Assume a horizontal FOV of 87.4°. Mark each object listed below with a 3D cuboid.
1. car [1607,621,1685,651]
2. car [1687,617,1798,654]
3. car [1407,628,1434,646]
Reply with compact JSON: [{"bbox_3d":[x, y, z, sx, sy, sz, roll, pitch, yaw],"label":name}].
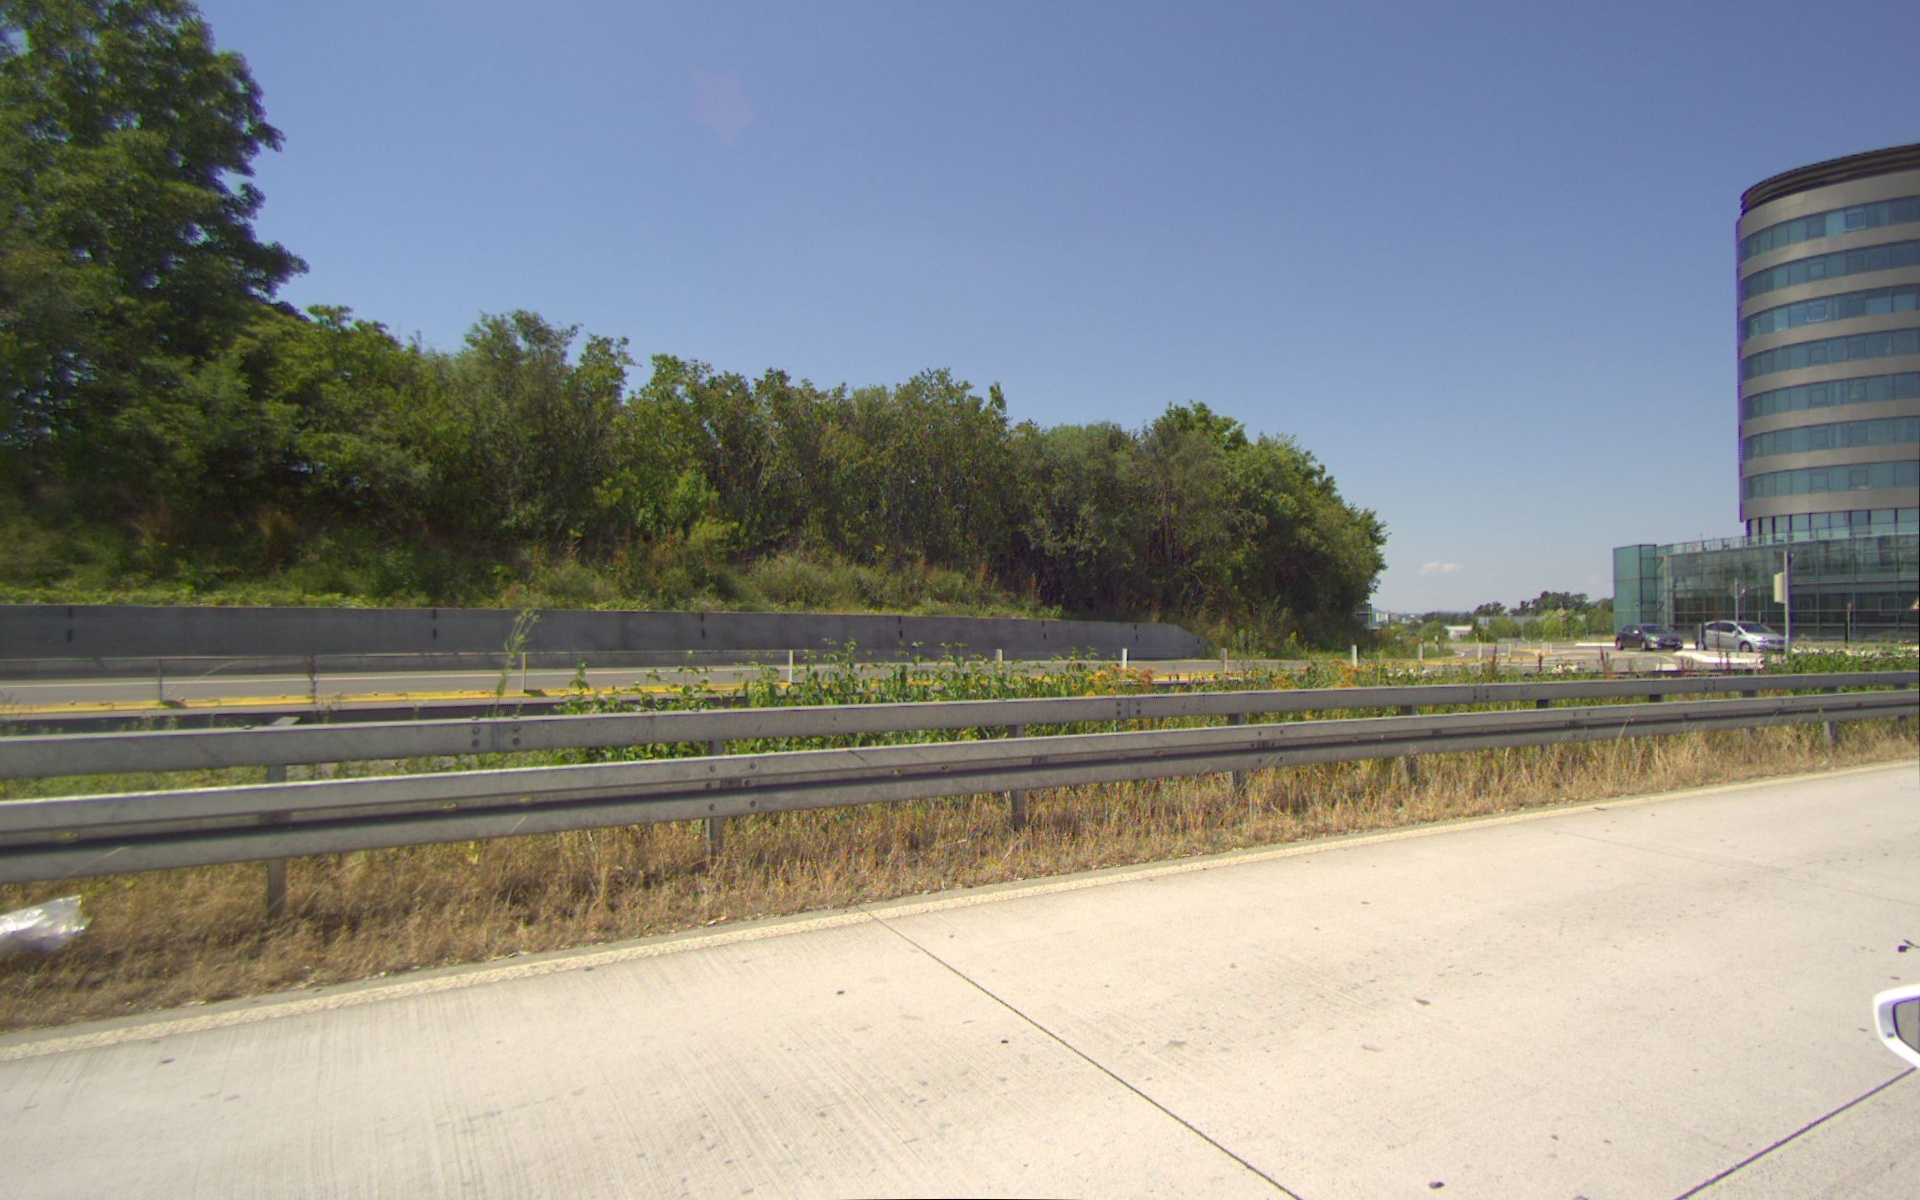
[{"bbox_3d":[37.217,1.971,54.635,1.663,1.475,4.333,2,-2,6],"label":"car"},{"bbox_3d":[36.498,1.668,46.997,1.742,1.616,4.329,2,-2,-2],"label":"car"},{"bbox_3d":[42.265,3.386,92.246,1.683,1.504,4.295,2,0,17],"label":"car"}]
